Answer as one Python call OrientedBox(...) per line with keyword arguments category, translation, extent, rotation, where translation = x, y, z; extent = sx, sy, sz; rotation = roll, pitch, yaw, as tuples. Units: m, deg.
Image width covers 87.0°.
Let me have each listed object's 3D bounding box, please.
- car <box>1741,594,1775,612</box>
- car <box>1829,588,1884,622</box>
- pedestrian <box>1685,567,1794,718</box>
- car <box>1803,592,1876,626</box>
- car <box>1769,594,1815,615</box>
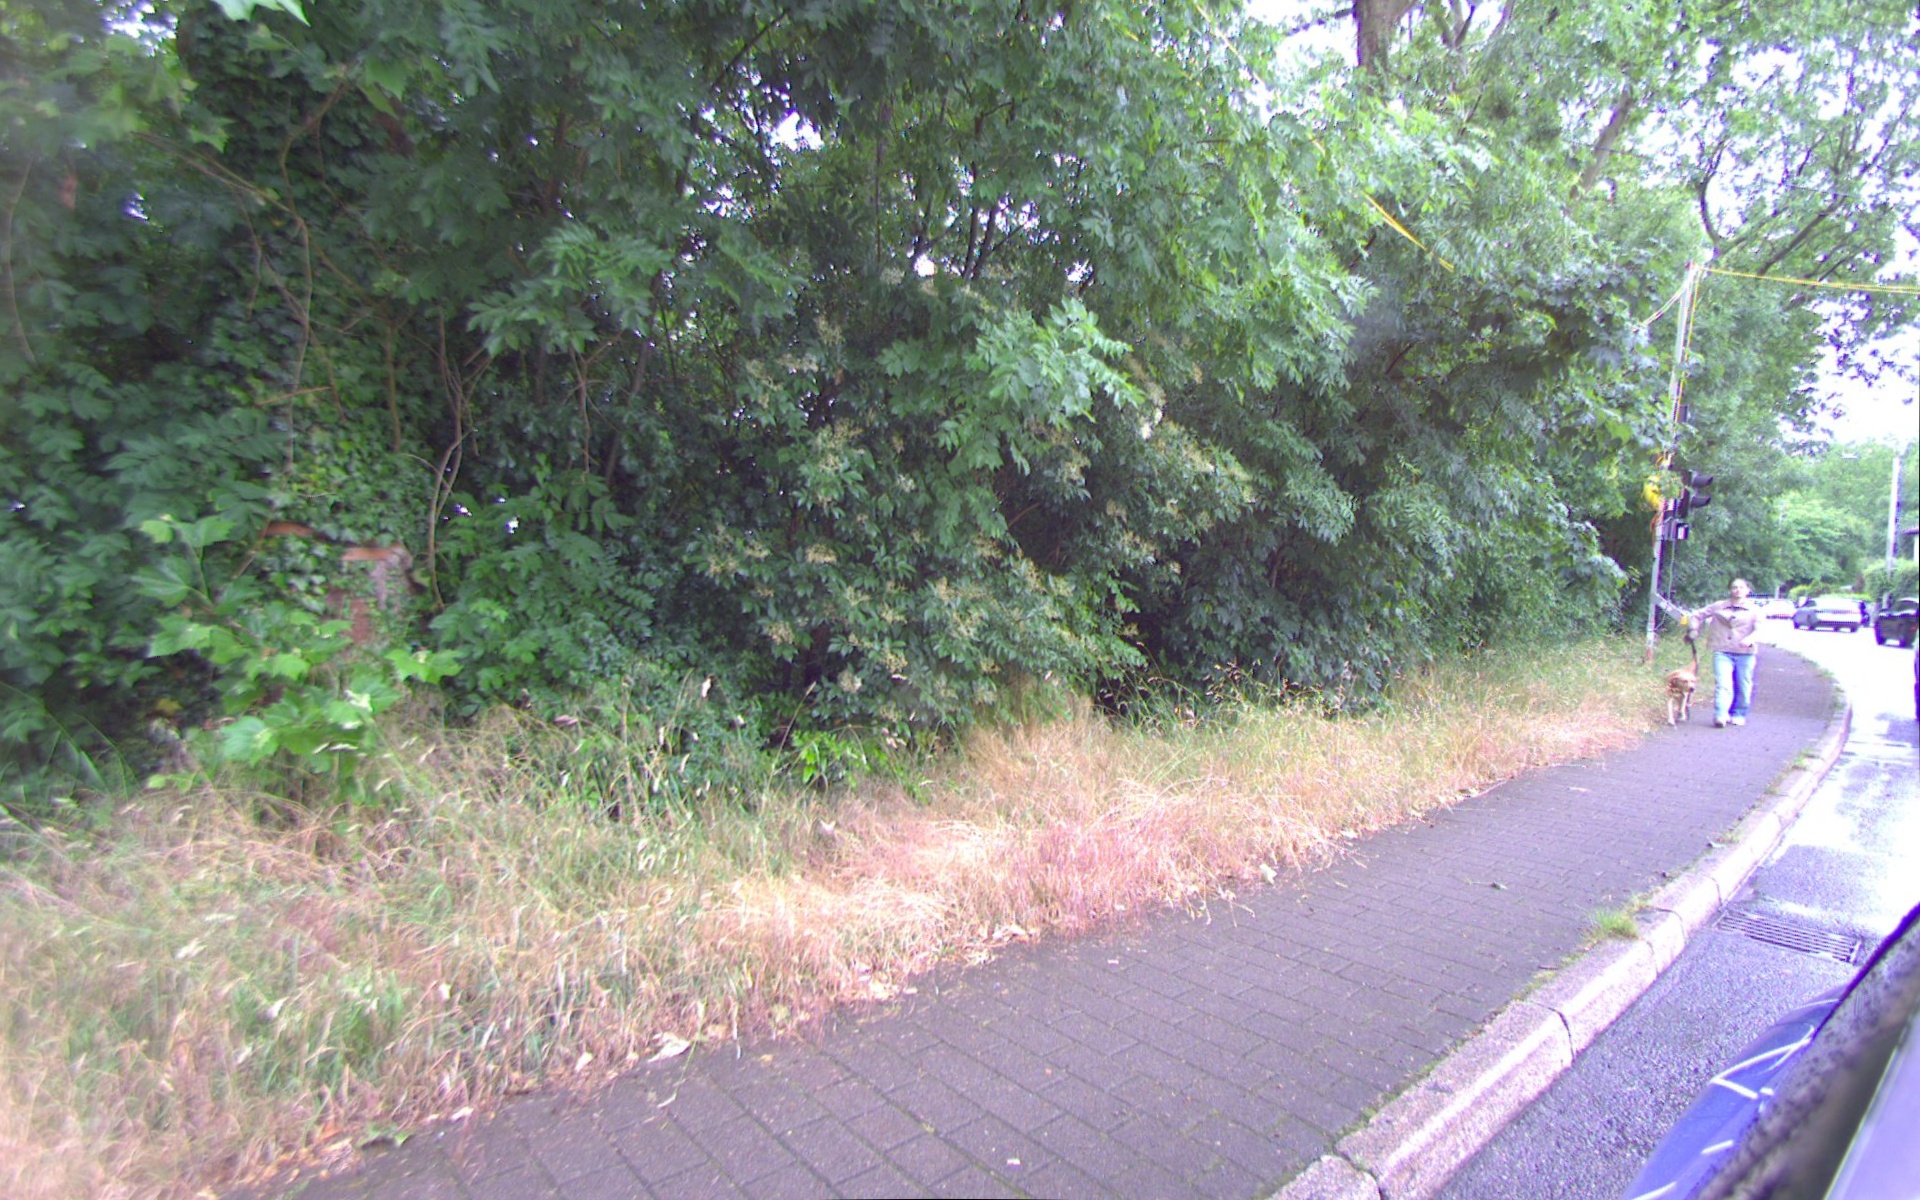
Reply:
OrientedBox(category="car", translation=(64.933, 0.216, 82.365), extent=(1.676, 1.445, 3.734), rotation=(1, 1, 31))
OrientedBox(category="car", translation=(51.052, 0.281, 57.700), extent=(1.869, 1.848, 4.075), rotation=(1, 1, 35))
OrientedBox(category="pedestrian", translation=(8.330, 0.423, 10.815), extent=(0.771, 1.517, 0.734), rotation=(0, 2, -42))
OrientedBox(category="car", translation=(41.811, 0.407, 48.201), extent=(1.845, 1.547, 4.764), rotation=(0, 0, 32))
OrientedBox(category="car", translation=(60.739, 0.295, 73.912), extent=(2.055, 1.504, 4.509), rotation=(1, 1, 33))
